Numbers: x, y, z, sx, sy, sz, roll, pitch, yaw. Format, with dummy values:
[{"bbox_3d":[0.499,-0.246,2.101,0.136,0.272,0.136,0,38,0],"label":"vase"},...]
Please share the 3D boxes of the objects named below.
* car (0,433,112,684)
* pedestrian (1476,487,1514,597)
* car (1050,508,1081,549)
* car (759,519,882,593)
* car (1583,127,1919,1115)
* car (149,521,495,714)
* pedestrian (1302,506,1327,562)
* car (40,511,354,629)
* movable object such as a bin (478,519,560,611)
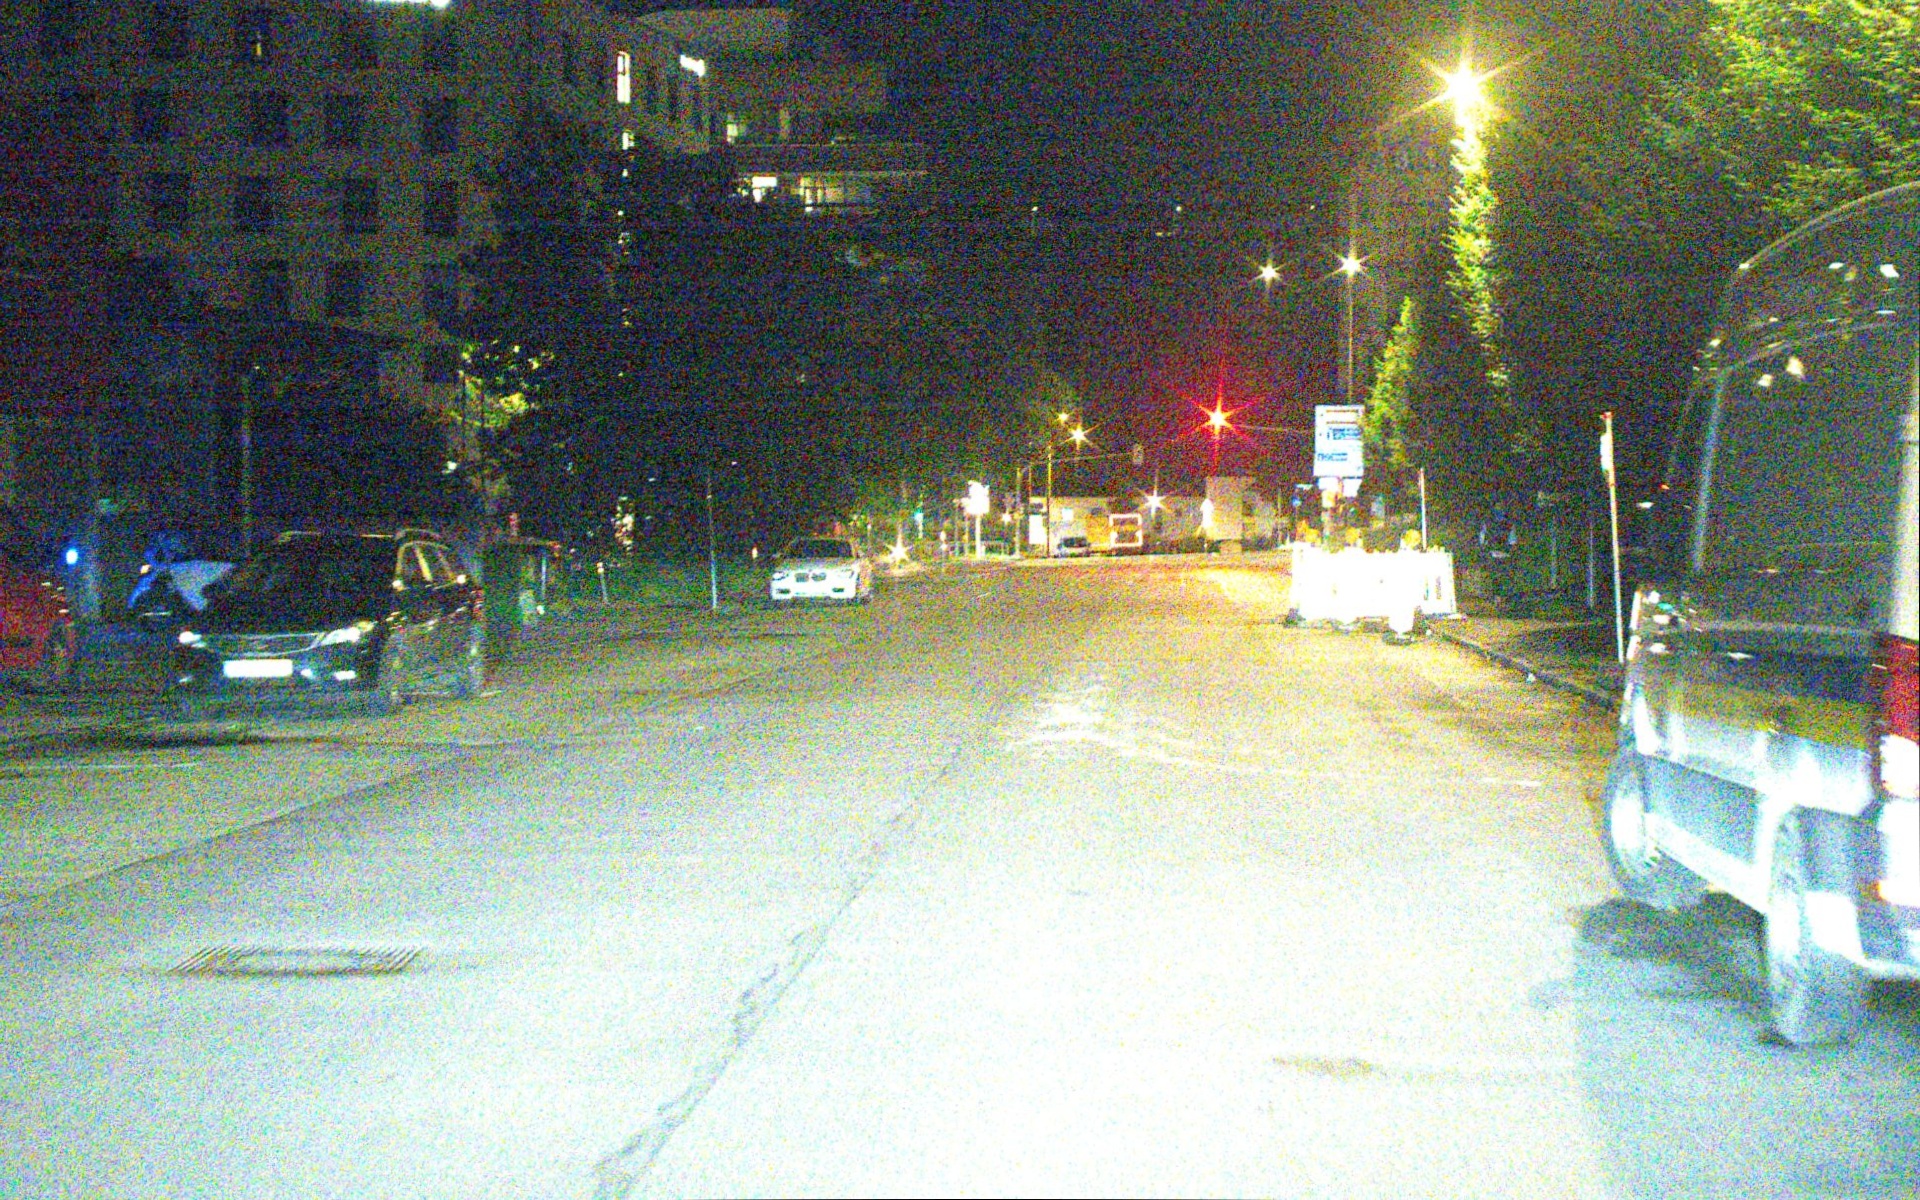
[{"bbox_3d":[-9.804,-0.352,31.841,1.994,2.313,4.965,-2,1,8],"label":"car"},{"bbox_3d":[9.029,-0.985,58.010,0.570,1.846,0.820,0,1,5],"label":"pedestrian"},{"bbox_3d":[7.652,-5.179,249.309,1.993,2.963,4.000,-1,1,-1],"label":"car"},{"bbox_3d":[-2.759,-0.905,68.857,1.911,1.399,4.337,-1,1,5],"label":"car"},{"bbox_3d":[3.528,-0.005,11.721,2.021,2.518,6.051,1,1,3],"label":"car"},{"bbox_3d":[-5.332,0.101,29.292,1.755,1.521,4.321,0,1,6],"label":"car"},{"bbox_3d":[12.590,-2.339,122.107,0.737,1.975,0.626,-1,1,-12],"label":"pedestrian"},{"bbox_3d":[-10.884,-0.441,49.192,3.987,1.565,1.817,-1,1,4],"label":"car"},{"bbox_3d":[-7.251,-0.579,56.599,1.164,1.490,1.065,-1,1,1],"label":"movable object such as a bin"}]
